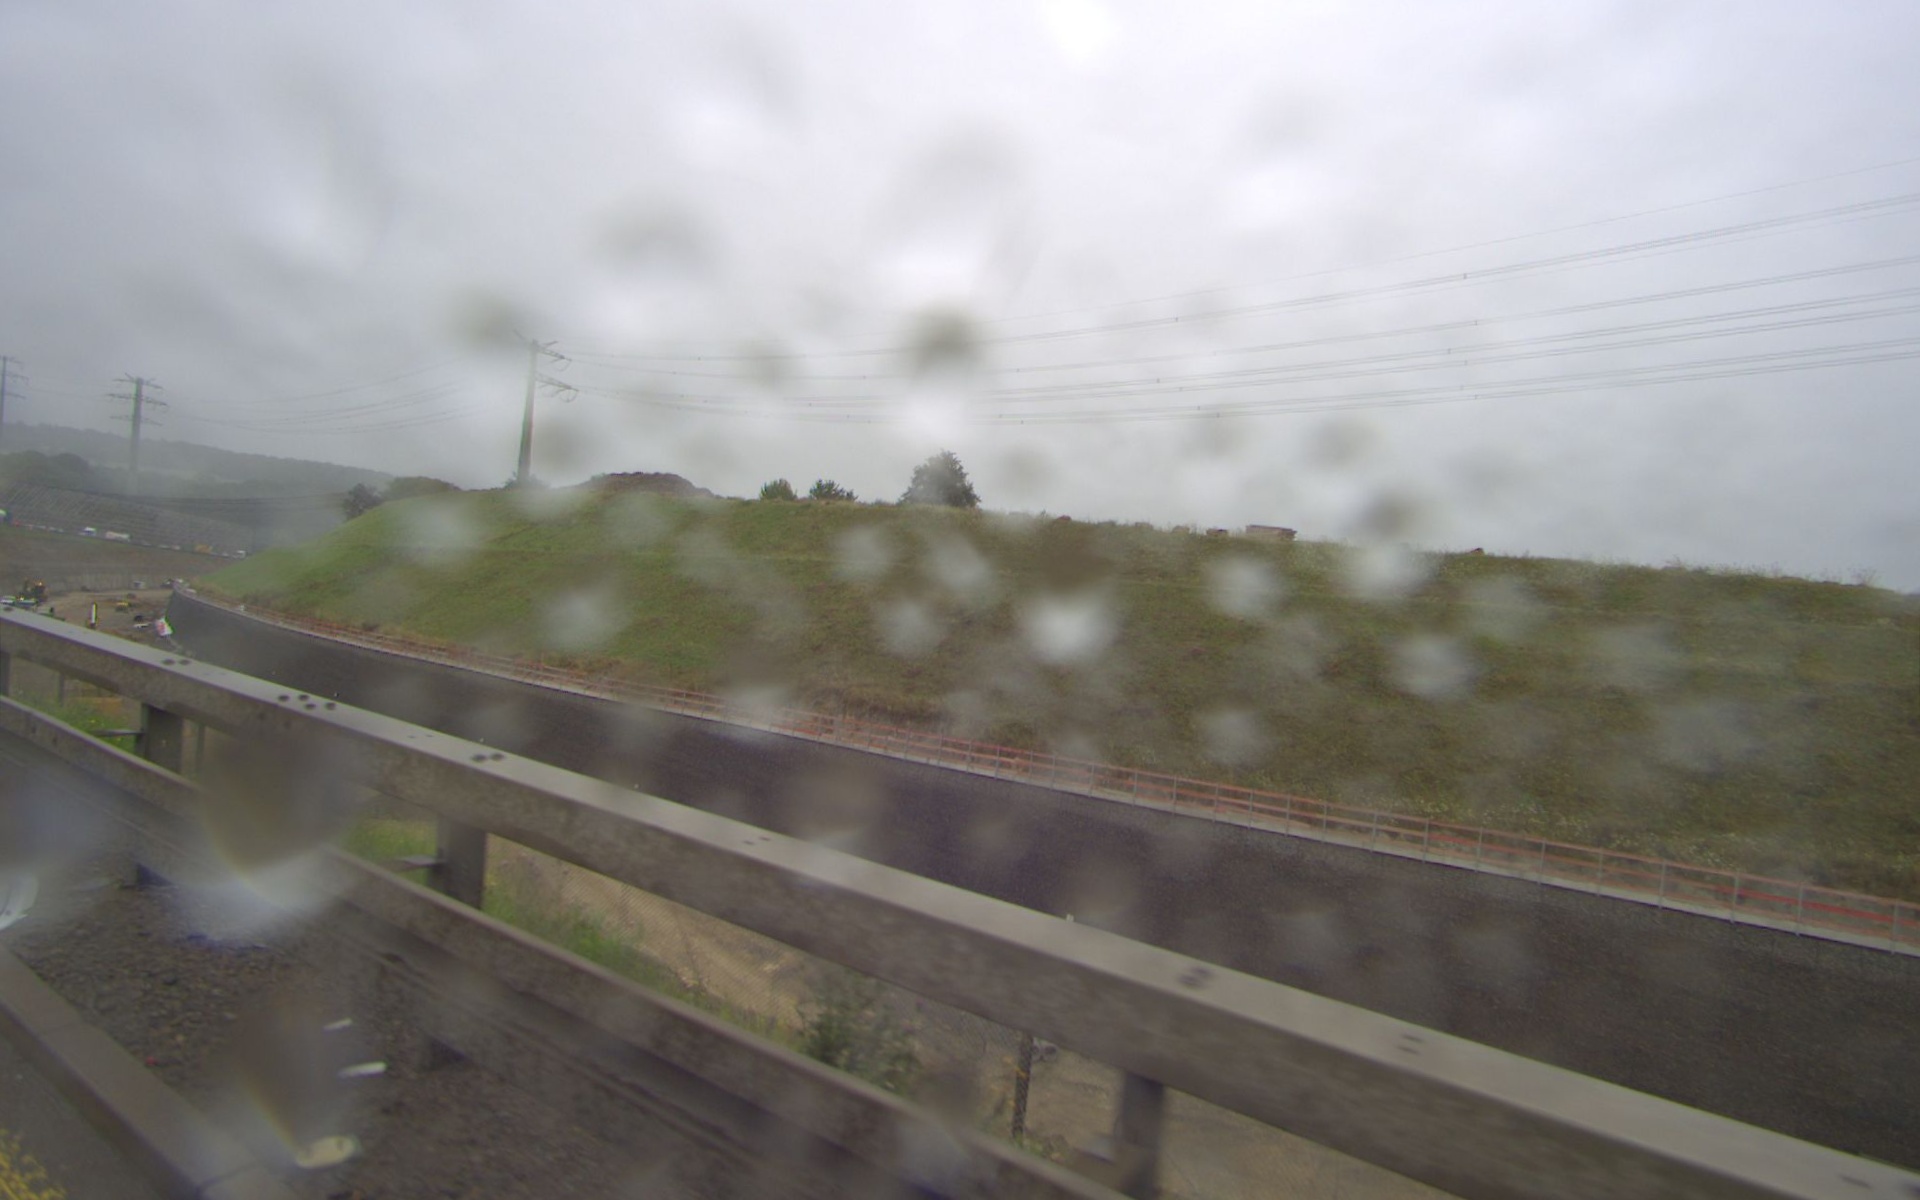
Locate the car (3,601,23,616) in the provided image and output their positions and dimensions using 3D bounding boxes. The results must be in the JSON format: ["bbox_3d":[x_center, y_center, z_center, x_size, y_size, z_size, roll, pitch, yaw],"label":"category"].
[{"bbox_3d":[-164.610,1.500,174.920,1.986,2.036,3.957,9,-3,-39],"label":"car"}]

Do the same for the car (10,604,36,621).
[{"bbox_3d":[-129.542,1.751,139.012,3.943,1.837,1.993,5,-2,40],"label":"car"}]

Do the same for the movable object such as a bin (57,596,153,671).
[{"bbox_3d":[-53.550,2.101,63.040,4.057,3.910,3.220,7,-3,35],"label":"movable object such as a bin"}]

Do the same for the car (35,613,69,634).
[{"bbox_3d":[-115.531,2.966,128.043,3.940,2.036,2.367,6,-3,37],"label":"car"}]
